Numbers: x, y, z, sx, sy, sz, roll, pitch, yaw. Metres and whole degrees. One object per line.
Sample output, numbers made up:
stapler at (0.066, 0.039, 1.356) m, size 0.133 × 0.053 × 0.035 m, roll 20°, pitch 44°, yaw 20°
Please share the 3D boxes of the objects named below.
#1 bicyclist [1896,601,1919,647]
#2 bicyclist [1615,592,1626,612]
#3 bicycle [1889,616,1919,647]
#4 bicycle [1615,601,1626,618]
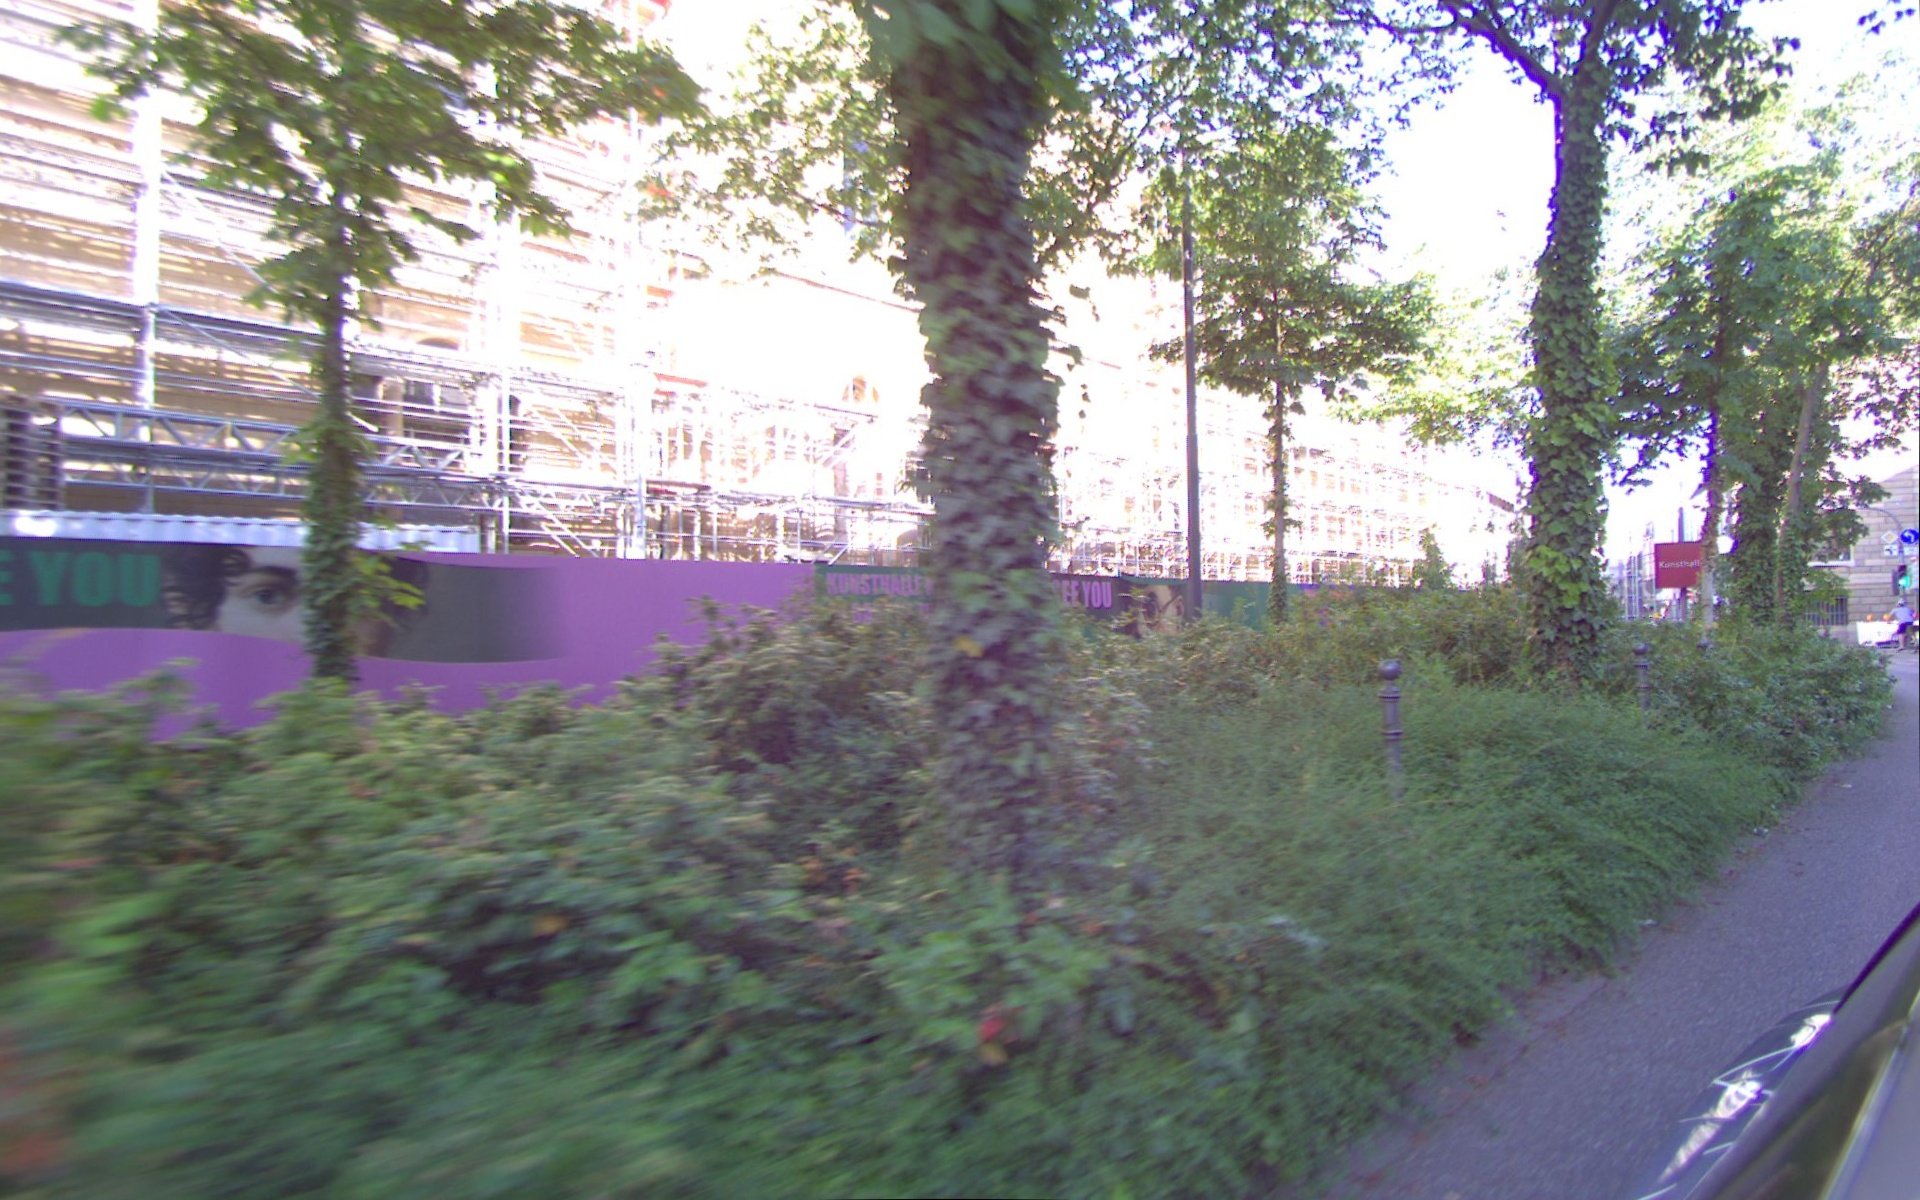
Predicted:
bicyclist at (33.888, 0.849, 35.862) m, size 0.738 × 1.604 × 0.788 m, roll -2°, pitch -2°, yaw 23°
bicyclist at (44.436, 0.115, 68.091) m, size 0.535 × 1.305 × 0.544 m, roll -3°, pitch -2°, yaw 36°
bicycle at (33.901, 1.097, 35.850) m, size 0.765 × 1.076 × 2.062 m, roll -1°, pitch -1°, yaw 22°
bicycle at (44.442, 0.633, 68.071) m, size 0.532 × 1.080 × 1.407 m, roll -3°, pitch -2°, yaw 36°
